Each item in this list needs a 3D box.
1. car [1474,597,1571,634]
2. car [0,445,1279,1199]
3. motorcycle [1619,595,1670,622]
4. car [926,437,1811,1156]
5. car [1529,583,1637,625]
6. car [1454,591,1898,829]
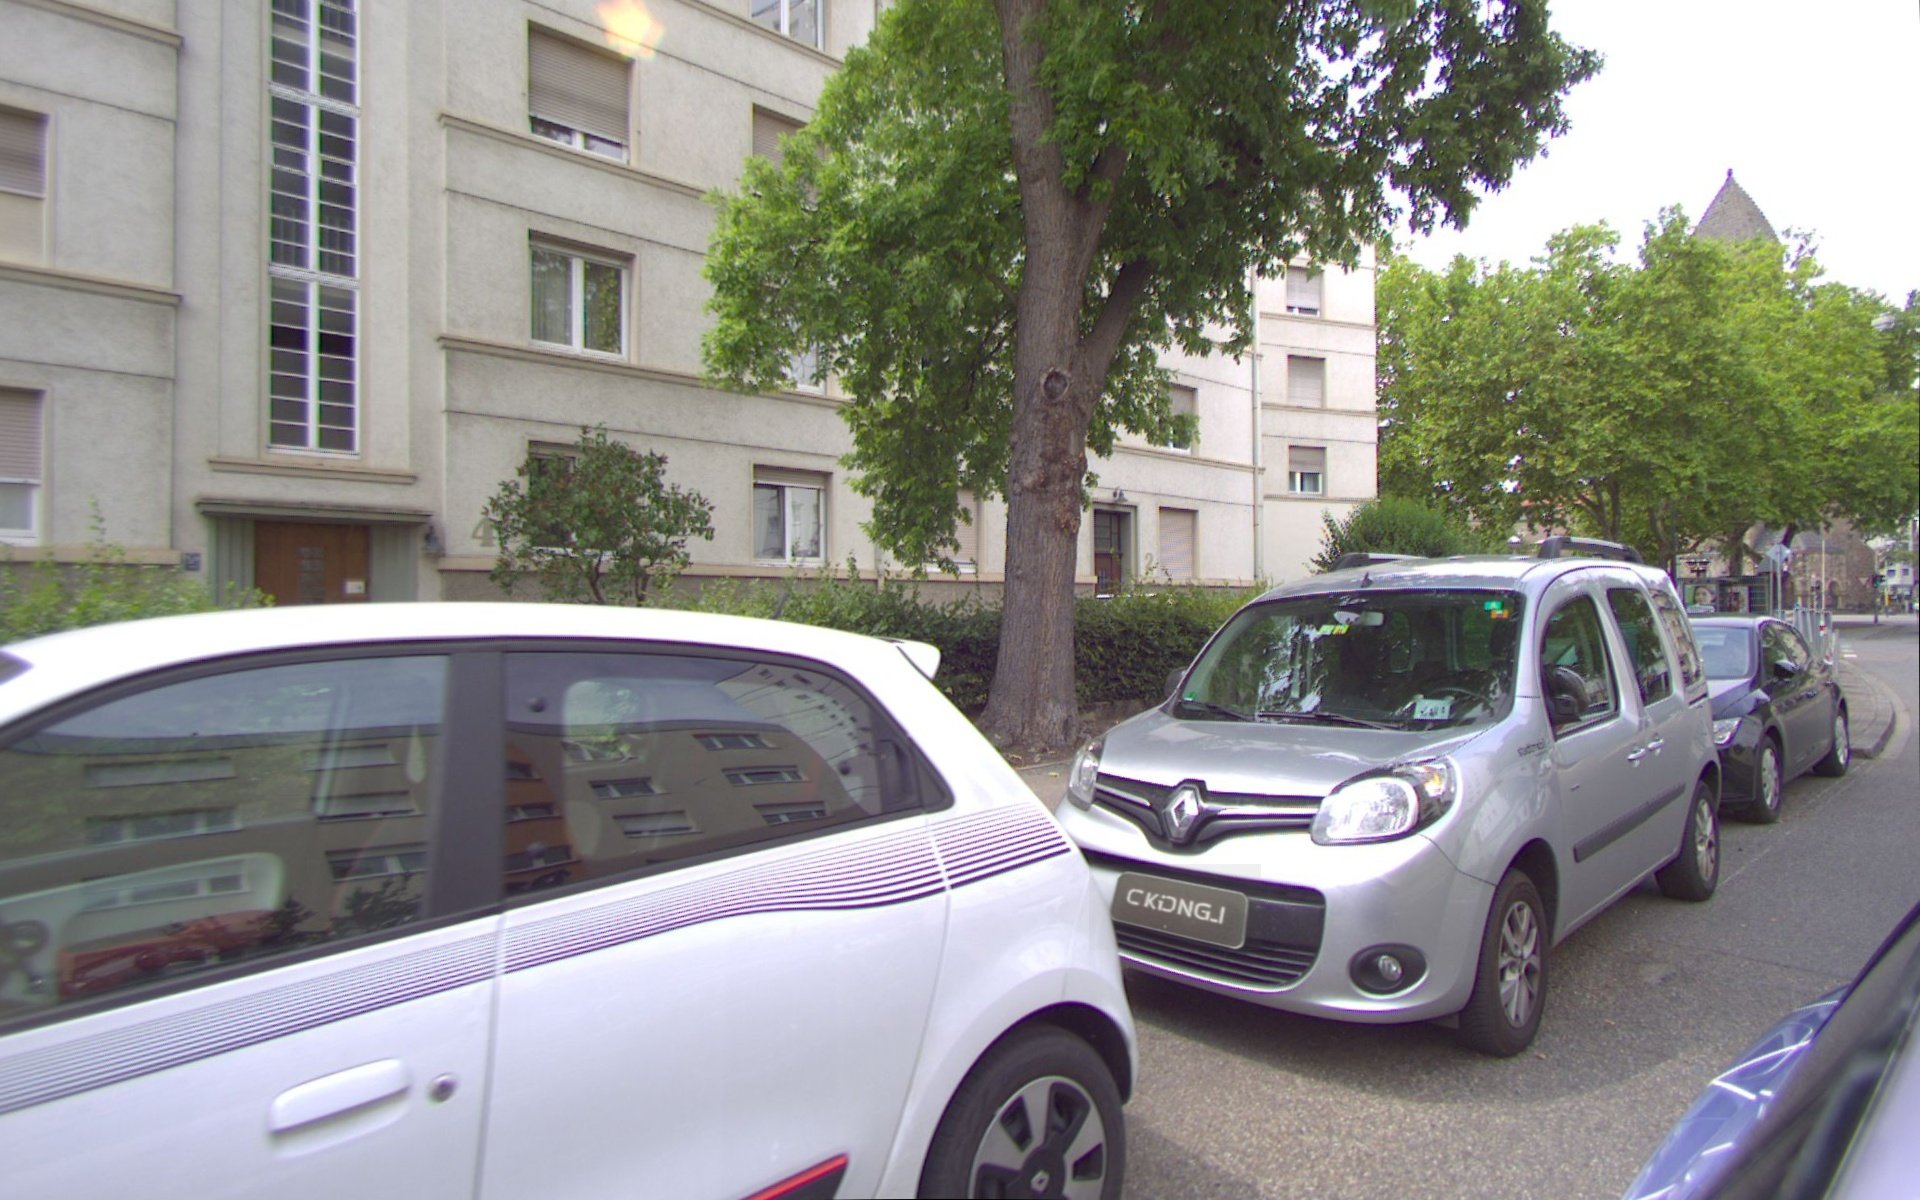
[{"bbox_3d":[25.336,0.660,45.612,3.917,1.572,1.836,-1,0,-24],"label":"car"},{"bbox_3d":[-1.165,0.671,2.007,3.736,1.628,1.607,-1,-2,-39],"label":"car"},{"bbox_3d":[31.178,0.386,46.105,1.853,1.238,0.522,-1,-2,43],"label":"motorcycle"},{"bbox_3d":[2.318,0.520,4.941,4.759,1.889,1.921,-1,-2,-39],"label":"car"},{"bbox_3d":[26.767,0.155,43.470,4.241,1.727,1.942,-1,0,-25],"label":"car"},{"bbox_3d":[6.035,0.702,8.359,4.163,1.463,1.921,-1,-2,-39],"label":"car"}]
